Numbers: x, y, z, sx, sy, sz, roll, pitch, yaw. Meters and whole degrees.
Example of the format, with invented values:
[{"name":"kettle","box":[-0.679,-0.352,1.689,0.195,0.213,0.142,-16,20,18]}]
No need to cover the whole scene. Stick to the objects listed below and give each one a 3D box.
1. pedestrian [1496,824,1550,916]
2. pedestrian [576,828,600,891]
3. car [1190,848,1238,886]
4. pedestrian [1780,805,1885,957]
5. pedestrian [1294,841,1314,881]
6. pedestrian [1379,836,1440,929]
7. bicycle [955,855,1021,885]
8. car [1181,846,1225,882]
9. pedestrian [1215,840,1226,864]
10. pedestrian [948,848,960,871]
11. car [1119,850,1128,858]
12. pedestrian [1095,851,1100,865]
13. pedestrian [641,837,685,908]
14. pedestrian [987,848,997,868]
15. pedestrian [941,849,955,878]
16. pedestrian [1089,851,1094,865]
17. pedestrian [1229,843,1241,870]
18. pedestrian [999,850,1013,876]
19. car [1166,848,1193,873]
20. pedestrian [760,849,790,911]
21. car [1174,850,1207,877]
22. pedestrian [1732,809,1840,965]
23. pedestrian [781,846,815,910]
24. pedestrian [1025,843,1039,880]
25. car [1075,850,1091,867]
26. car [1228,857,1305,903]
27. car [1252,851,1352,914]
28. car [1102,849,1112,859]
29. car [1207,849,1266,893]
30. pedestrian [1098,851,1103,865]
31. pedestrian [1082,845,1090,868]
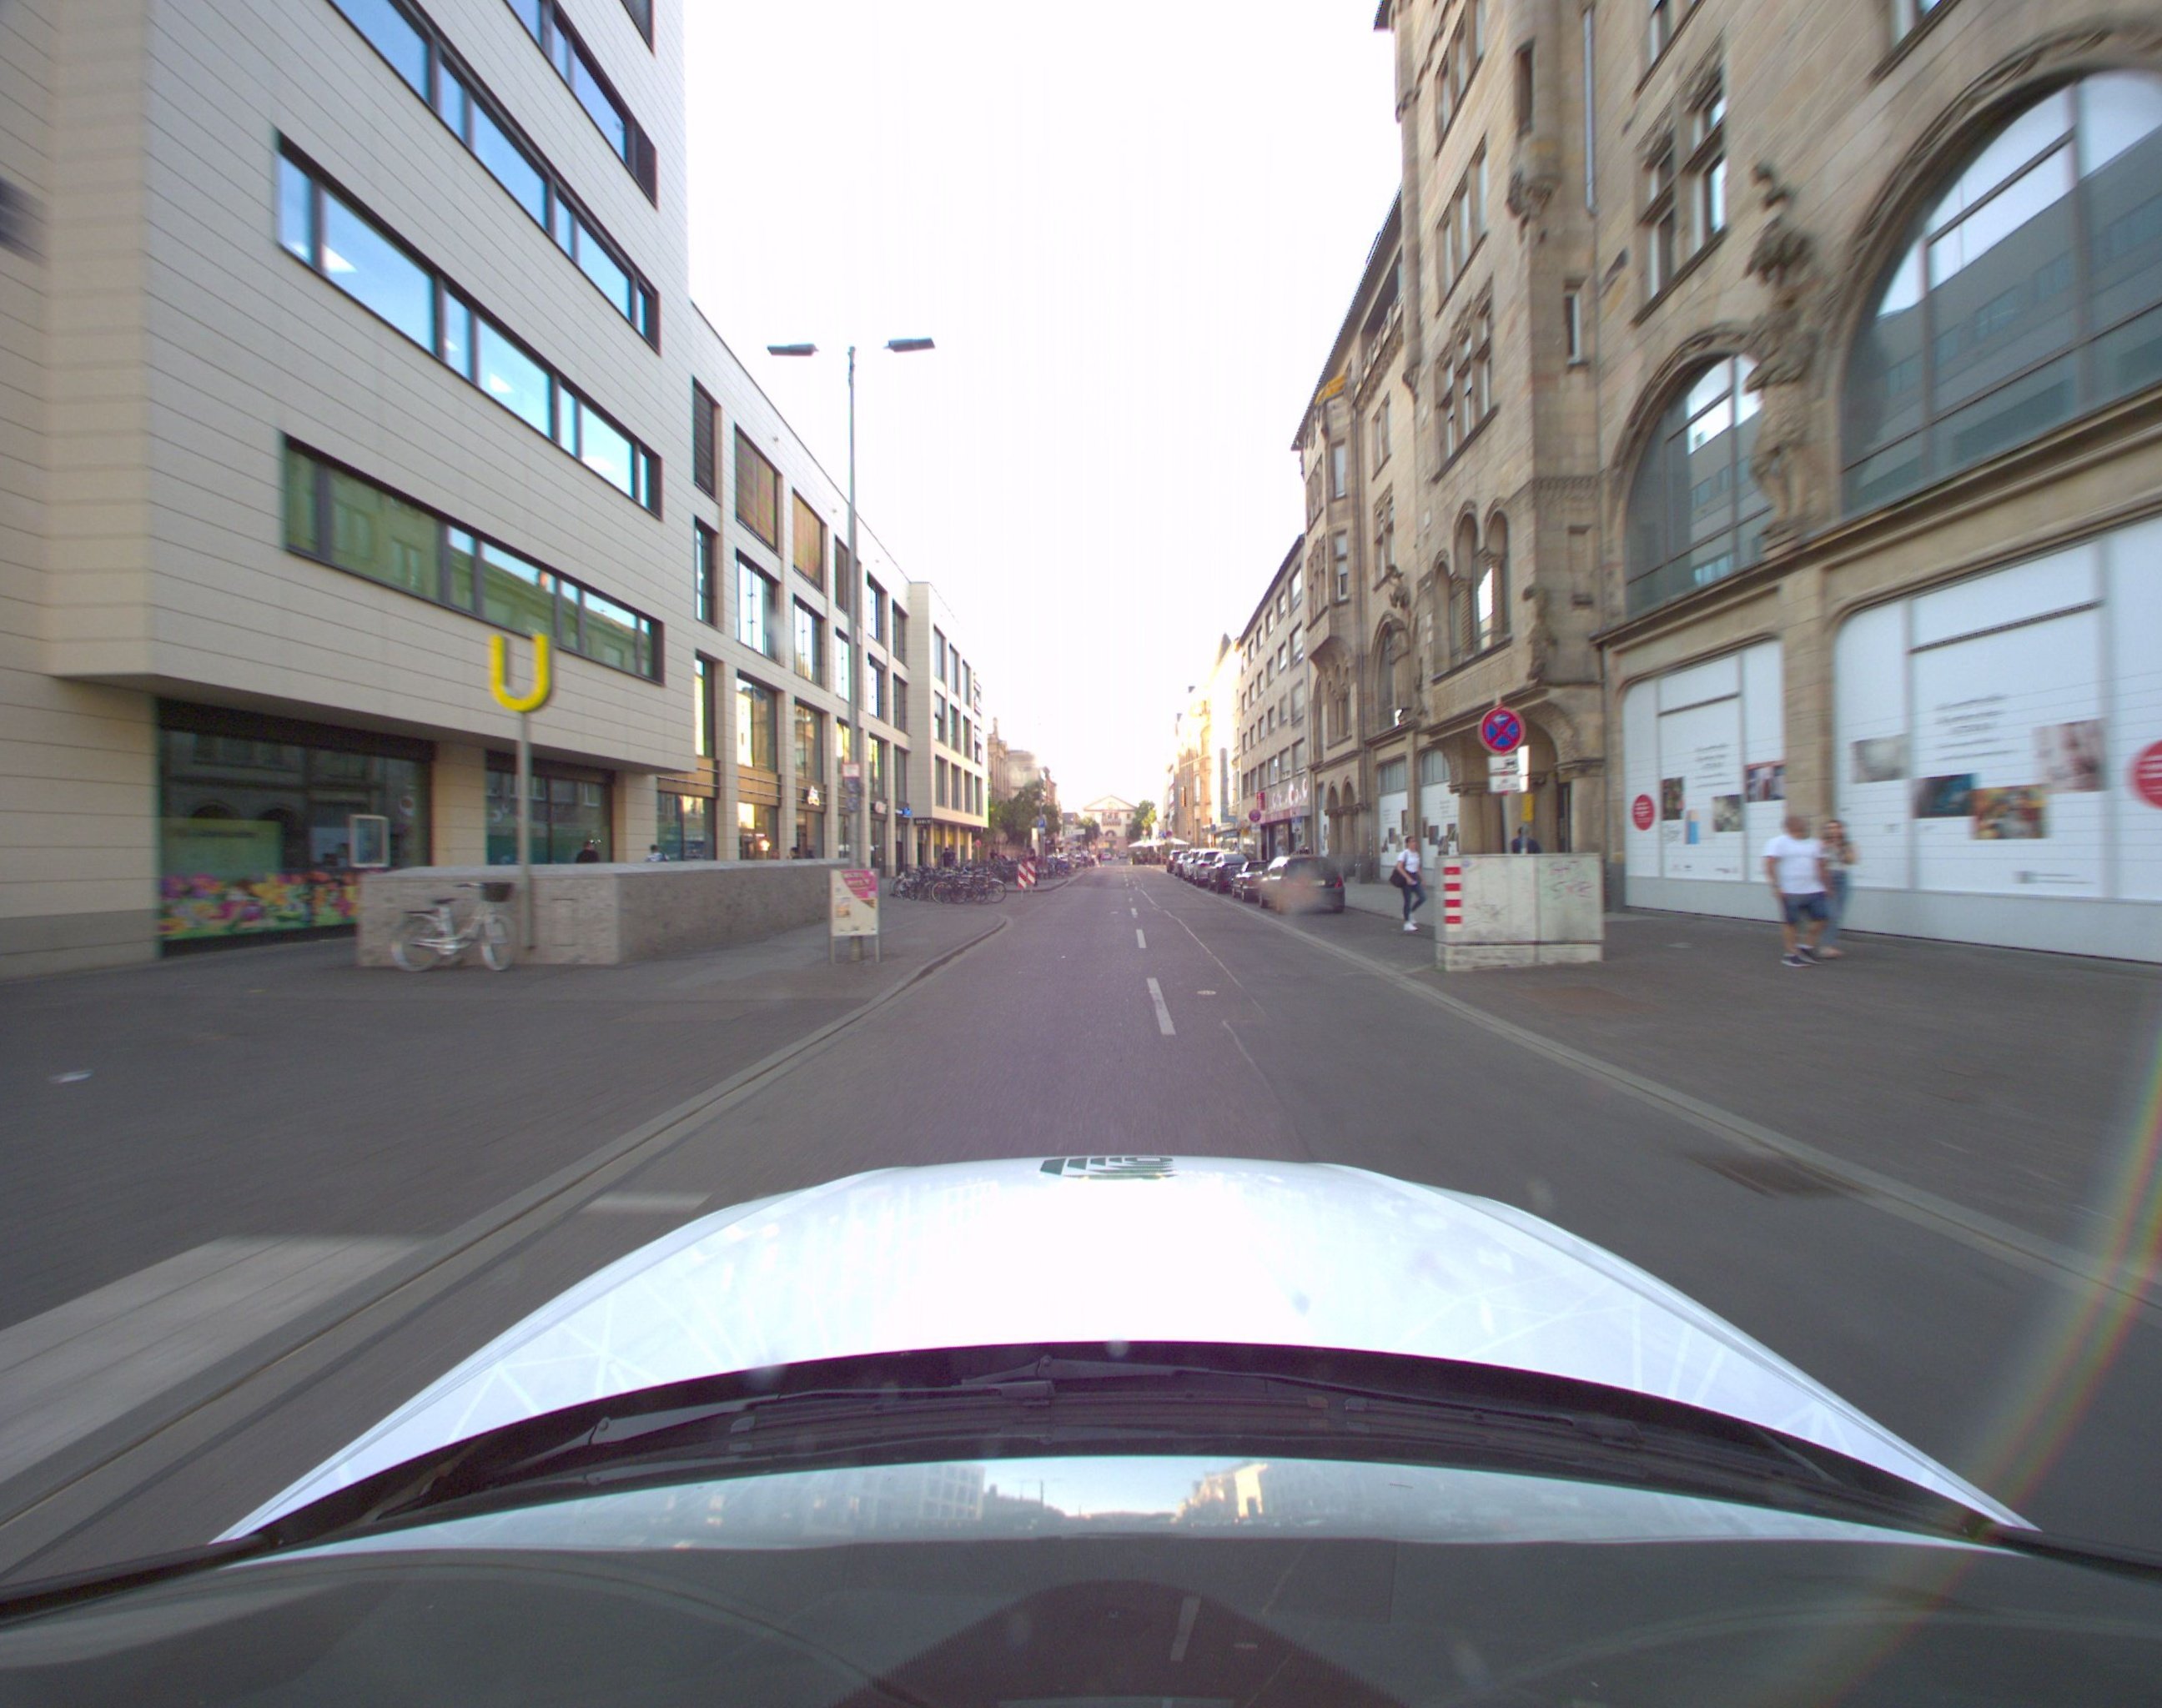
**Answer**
[{"name":"pedestrian","box":[8.317,0.294,15.350,0.623,1.690,0.671,-1,0,0]},{"name":"pedestrian","box":[-12.052,0.141,19.927,0.391,1.515,0.502,-1,0,-20]},{"name":"car","box":[6.079,0.576,37.534,1.672,1.613,4.030,-2,0,2]},{"name":"pedestrian","box":[8.712,0.301,9.460,0.623,1.690,0.626,-1,0,0]},{"name":"pedestrian","box":[9.430,0.289,34.394,0.641,1.690,0.671,-1,0,0]},{"name":"pedestrian","box":[6.223,0.525,15.457,0.833,1.720,0.680,-1,0,-6]},{"name":"bicycle","box":[-4.261,0.708,37.290,2.900,1.255,0.798,-1,0,-24]},{"name":"car","box":[6.446,0.491,43.549,1.792,1.768,4.400,-2,0,2]},{"name":"pedestrian","box":[10.281,-0.141,59.938,0.641,1.746,0.671,-1,0,0]},{"name":"pedestrian","box":[-9.128,0.390,58.386,0.728,1.621,0.662,-1,0,2]},{"name":"car","box":[9.611,0.020,183.857,1.986,1.904,4.002,0,0,2]},{"name":"pedestrian","box":[1.780,0.406,89.824,0.547,1.486,0.565,-1,0,0]},{"name":"pedestrian","box":[-10.620,0.461,20.687,0.779,1.751,0.600,0,0,-1]},{"name":"pedestrian","box":[-7.442,0.316,68.110,0.677,1.621,0.574,-1,0,2]},{"name":"pedestrian","box":[-7.552,0.509,46.223,0.677,1.621,0.574,-1,0,2]},{"name":"pedestrian","box":[1.167,0.404,88.839,0.547,1.486,0.565,-1,0,0]},{"name":"pedestrian","box":[10.296,0.180,54.476,0.641,1.800,0.671,-1,0,0]},{"name":"pedestrian","box":[-4.414,0.519,47.928,0.748,1.529,0.485,-1,0,2]},{"name":"car","box":[7.174,0.450,59.638,1.672,1.666,3.675,-2,0,2]},{"name":"pedestrian","box":[-8.235,0.686,21.944,0.598,1.646,0.546,0,0,-1]},{"name":"car","box":[6.783,0.552,50.729,1.672,1.547,3.675,-2,0,2]},{"name":"pedestrian","box":[7.961,0.360,9.220,0.623,1.690,0.671,-1,0,0]},{"name":"pedestrian","box":[-7.573,0.628,21.780,0.678,1.680,0.600,0,0,-1]},{"name":"pedestrian","box":[-2.408,0.366,40.131,0.656,1.823,0.527,-1,0,-8]},{"name":"car","box":[0.259,0.502,97.531,1.704,2.013,4.002,-1,0,2]},{"name":"car","box":[5.884,0.781,26.273,1.672,1.291,4.049,-2,0,2]},{"name":"car","box":[5.606,0.673,21.045,1.672,1.424,3.675,-2,0,2]},{"name":"car","box":[5.336,0.038,165.351,1.986,1.904,4.002,0,0,2]},{"name":"car","box":[5.936,0.622,31.473,1.672,1.547,3.675,-2,0,2]},{"name":"pedestrian","box":[2.081,0.413,88.323,0.547,1.486,0.565,-1,0,0]},{"name":"pedestrian","box":[0.435,0.210,67.363,0.598,1.823,0.451,-1,0,-8]}]
